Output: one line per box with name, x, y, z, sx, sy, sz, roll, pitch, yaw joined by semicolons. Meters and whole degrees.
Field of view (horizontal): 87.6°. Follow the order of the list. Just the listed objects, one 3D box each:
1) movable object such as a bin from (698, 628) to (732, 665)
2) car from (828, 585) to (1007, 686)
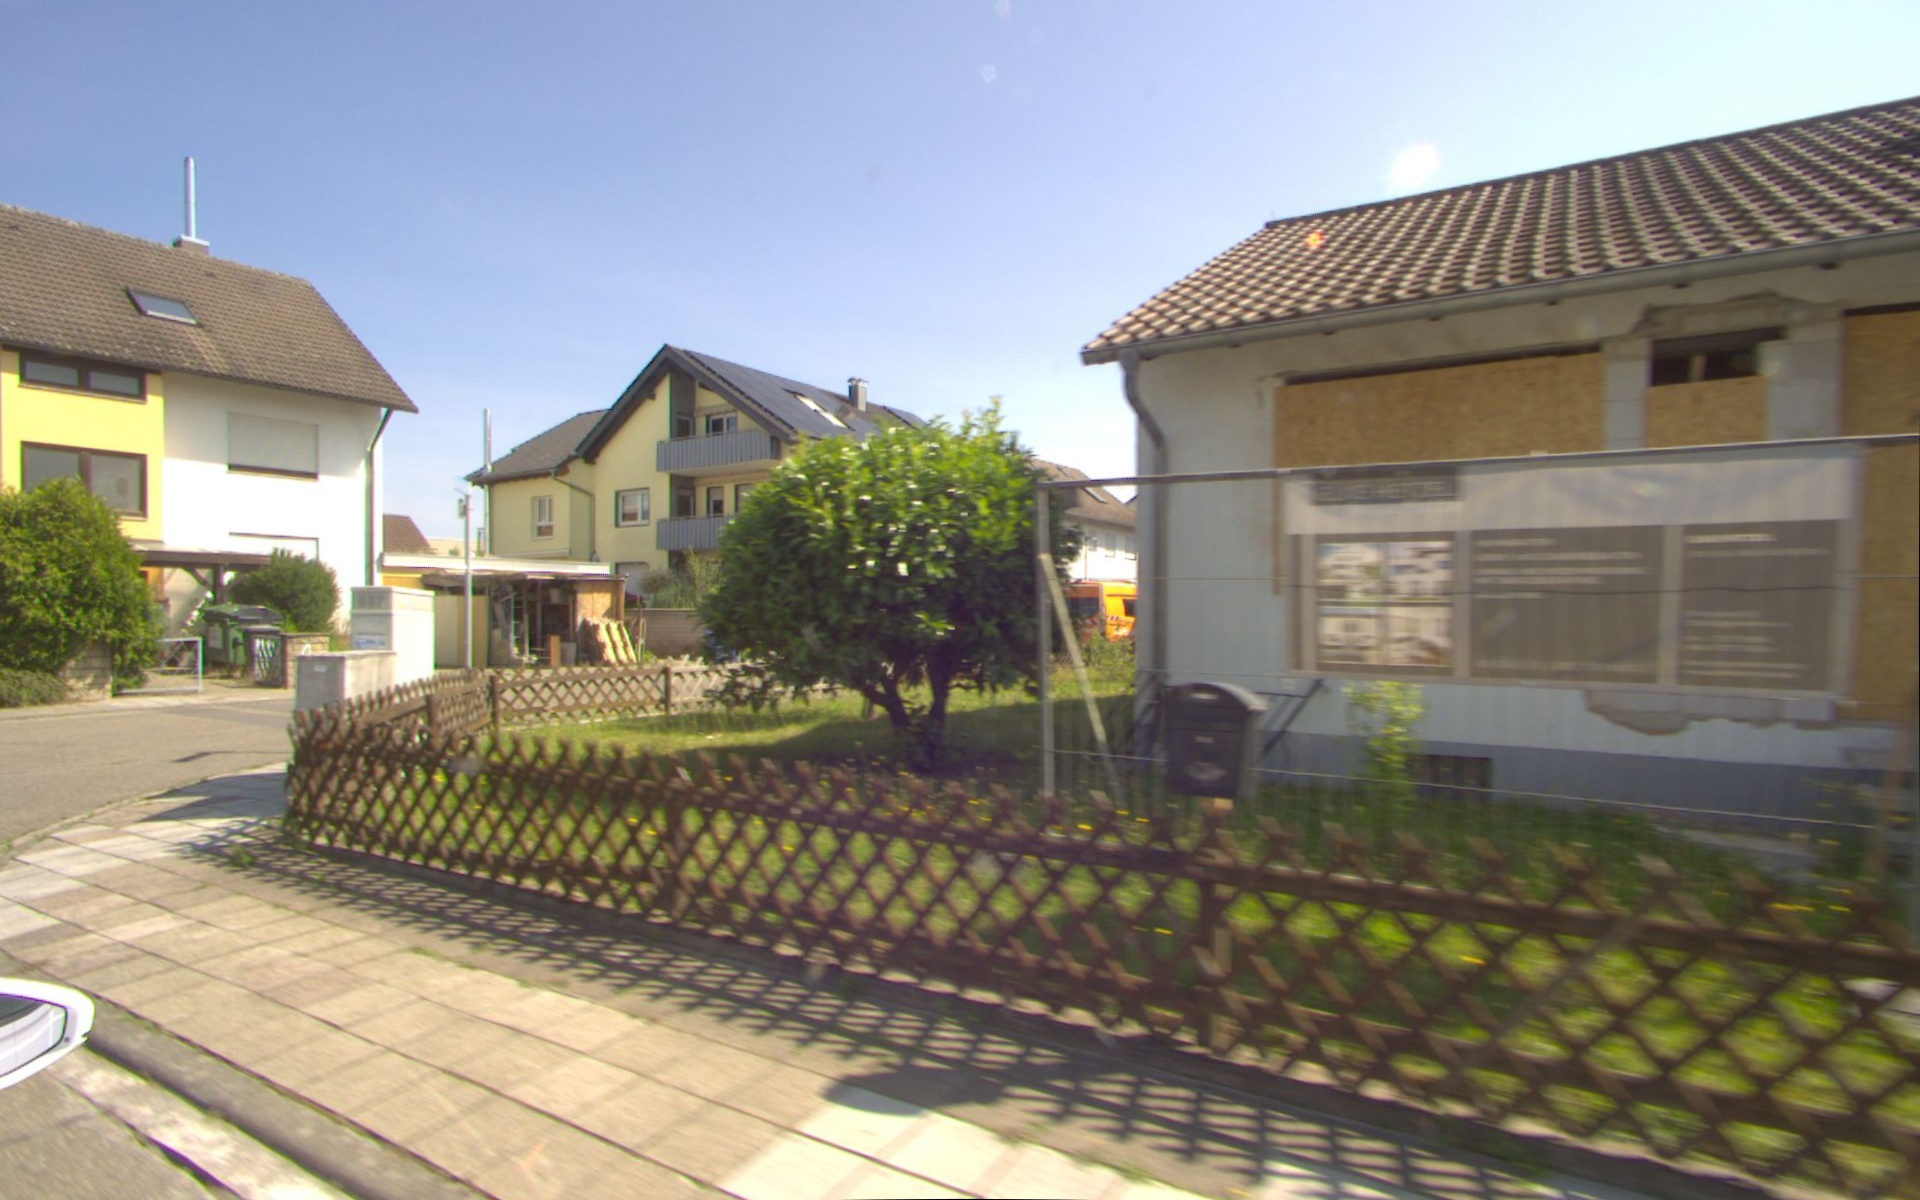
movable object such as a bin;-6.290;1.191;25.712;0.576;0.928;0.595;0;0;32
car;-0.806;0.720;21.689;1.845;1.963;4.182;0;-1;32
